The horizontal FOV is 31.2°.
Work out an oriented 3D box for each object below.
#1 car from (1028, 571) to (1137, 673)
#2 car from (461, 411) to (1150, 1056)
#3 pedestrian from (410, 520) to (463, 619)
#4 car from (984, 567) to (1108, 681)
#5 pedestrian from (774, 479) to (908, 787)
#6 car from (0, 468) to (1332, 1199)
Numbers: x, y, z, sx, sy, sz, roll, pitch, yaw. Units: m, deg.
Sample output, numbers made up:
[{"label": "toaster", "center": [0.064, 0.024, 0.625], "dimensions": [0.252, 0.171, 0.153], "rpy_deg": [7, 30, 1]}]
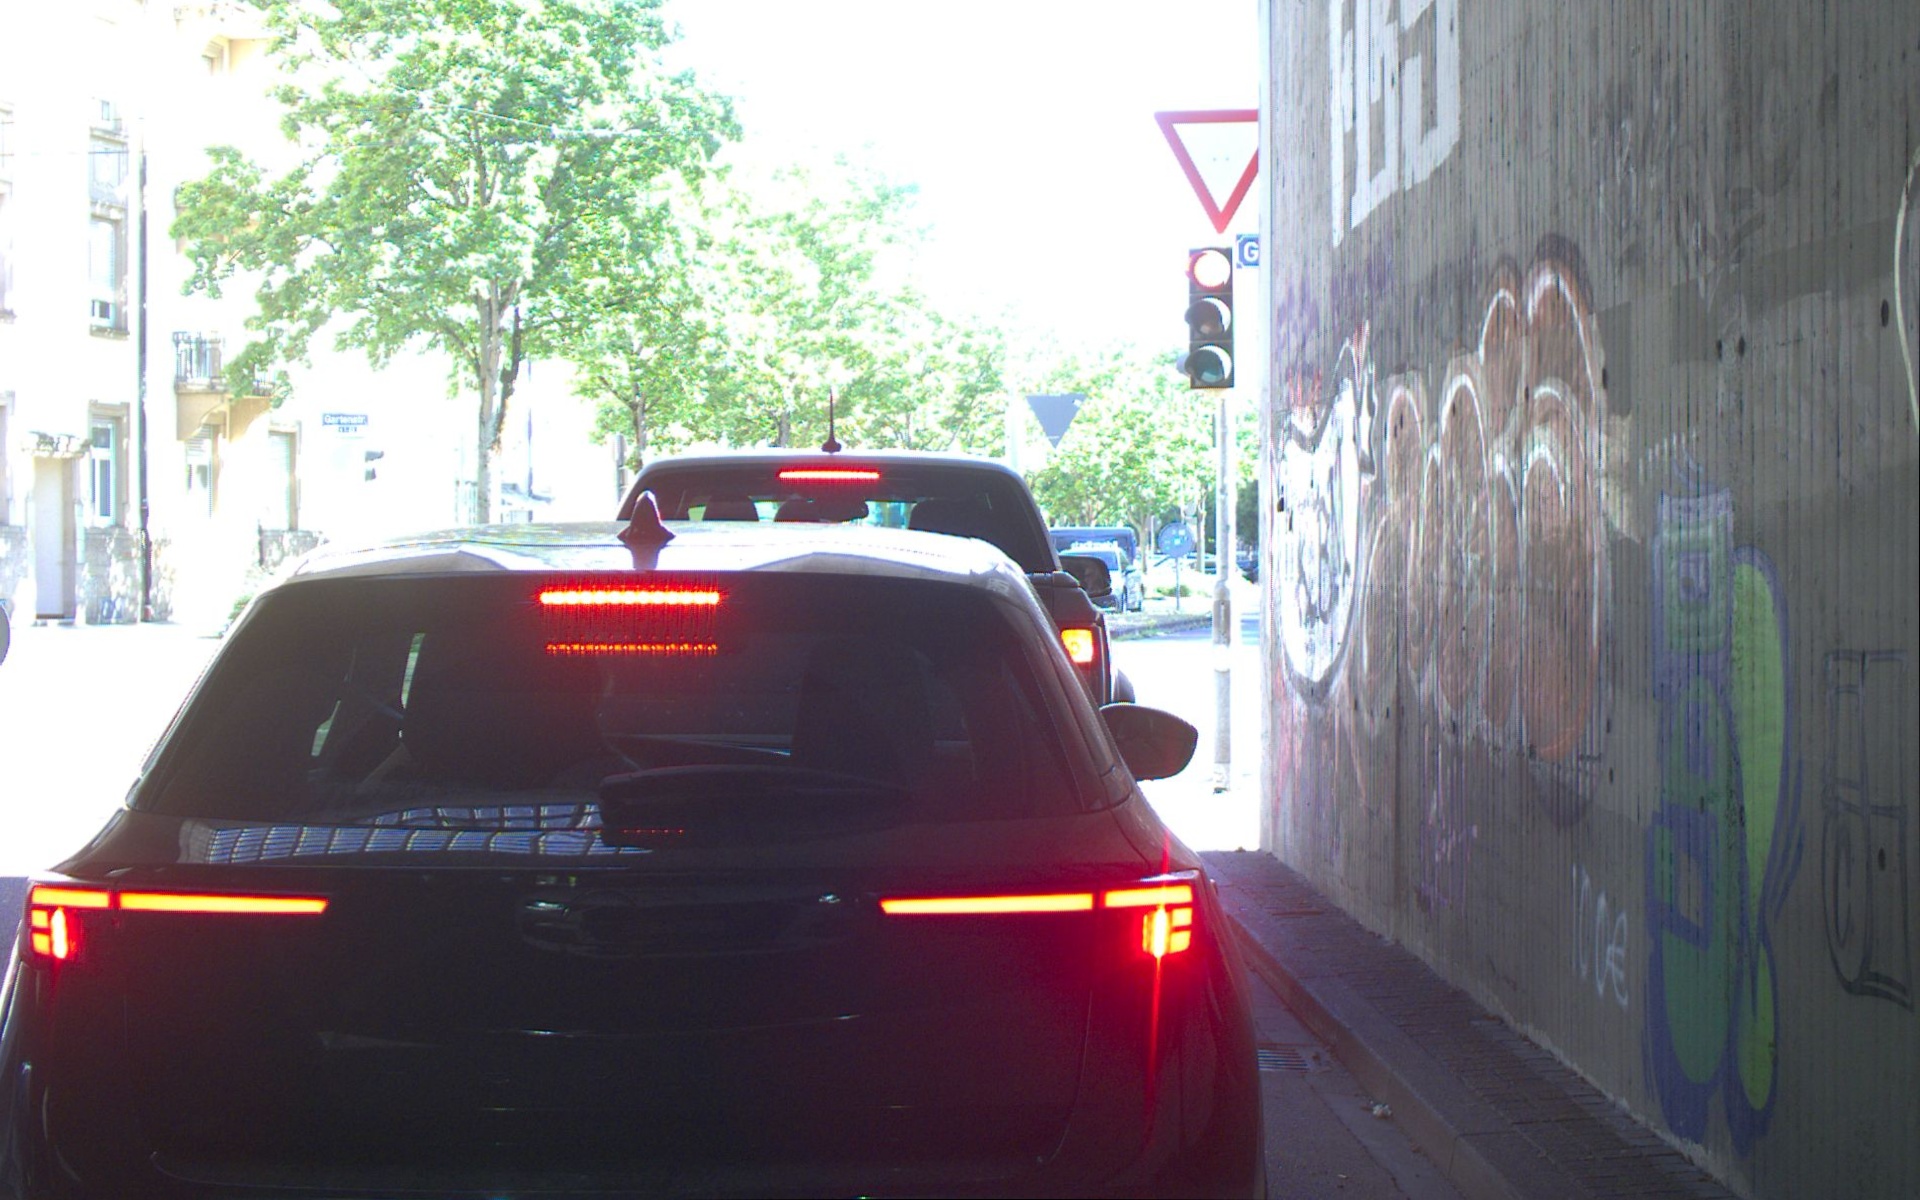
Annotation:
[{"label": "car", "center": [2.494, 0.412, 69.261], "dimensions": [1.994, 1.963, 4.163], "rpy_deg": [1, 1, 5]}, {"label": "car", "center": [-0.471, 0.351, 12.015], "dimensions": [1.993, 1.865, 4.000], "rpy_deg": [0, 1, -1]}, {"label": "pedestrian", "center": [-11.094, -0.647, 72.852], "dimensions": [0.892, 2.080, 0.808], "rpy_deg": [1, 0, 7]}, {"label": "car", "center": [1.598, 0.405, 62.346], "dimensions": [1.994, 1.963, 4.163], "rpy_deg": [1, 1, 5]}, {"label": "pedestrian", "center": [-0.680, 0.184, 19.847], "dimensions": [0.731, 1.728, 0.874], "rpy_deg": [1, 0, -1]}, {"label": "car", "center": [-0.486, 0.568, 5.989], "dimensions": [1.764, 1.566, 4.001], "rpy_deg": [1, 2, -1]}]
